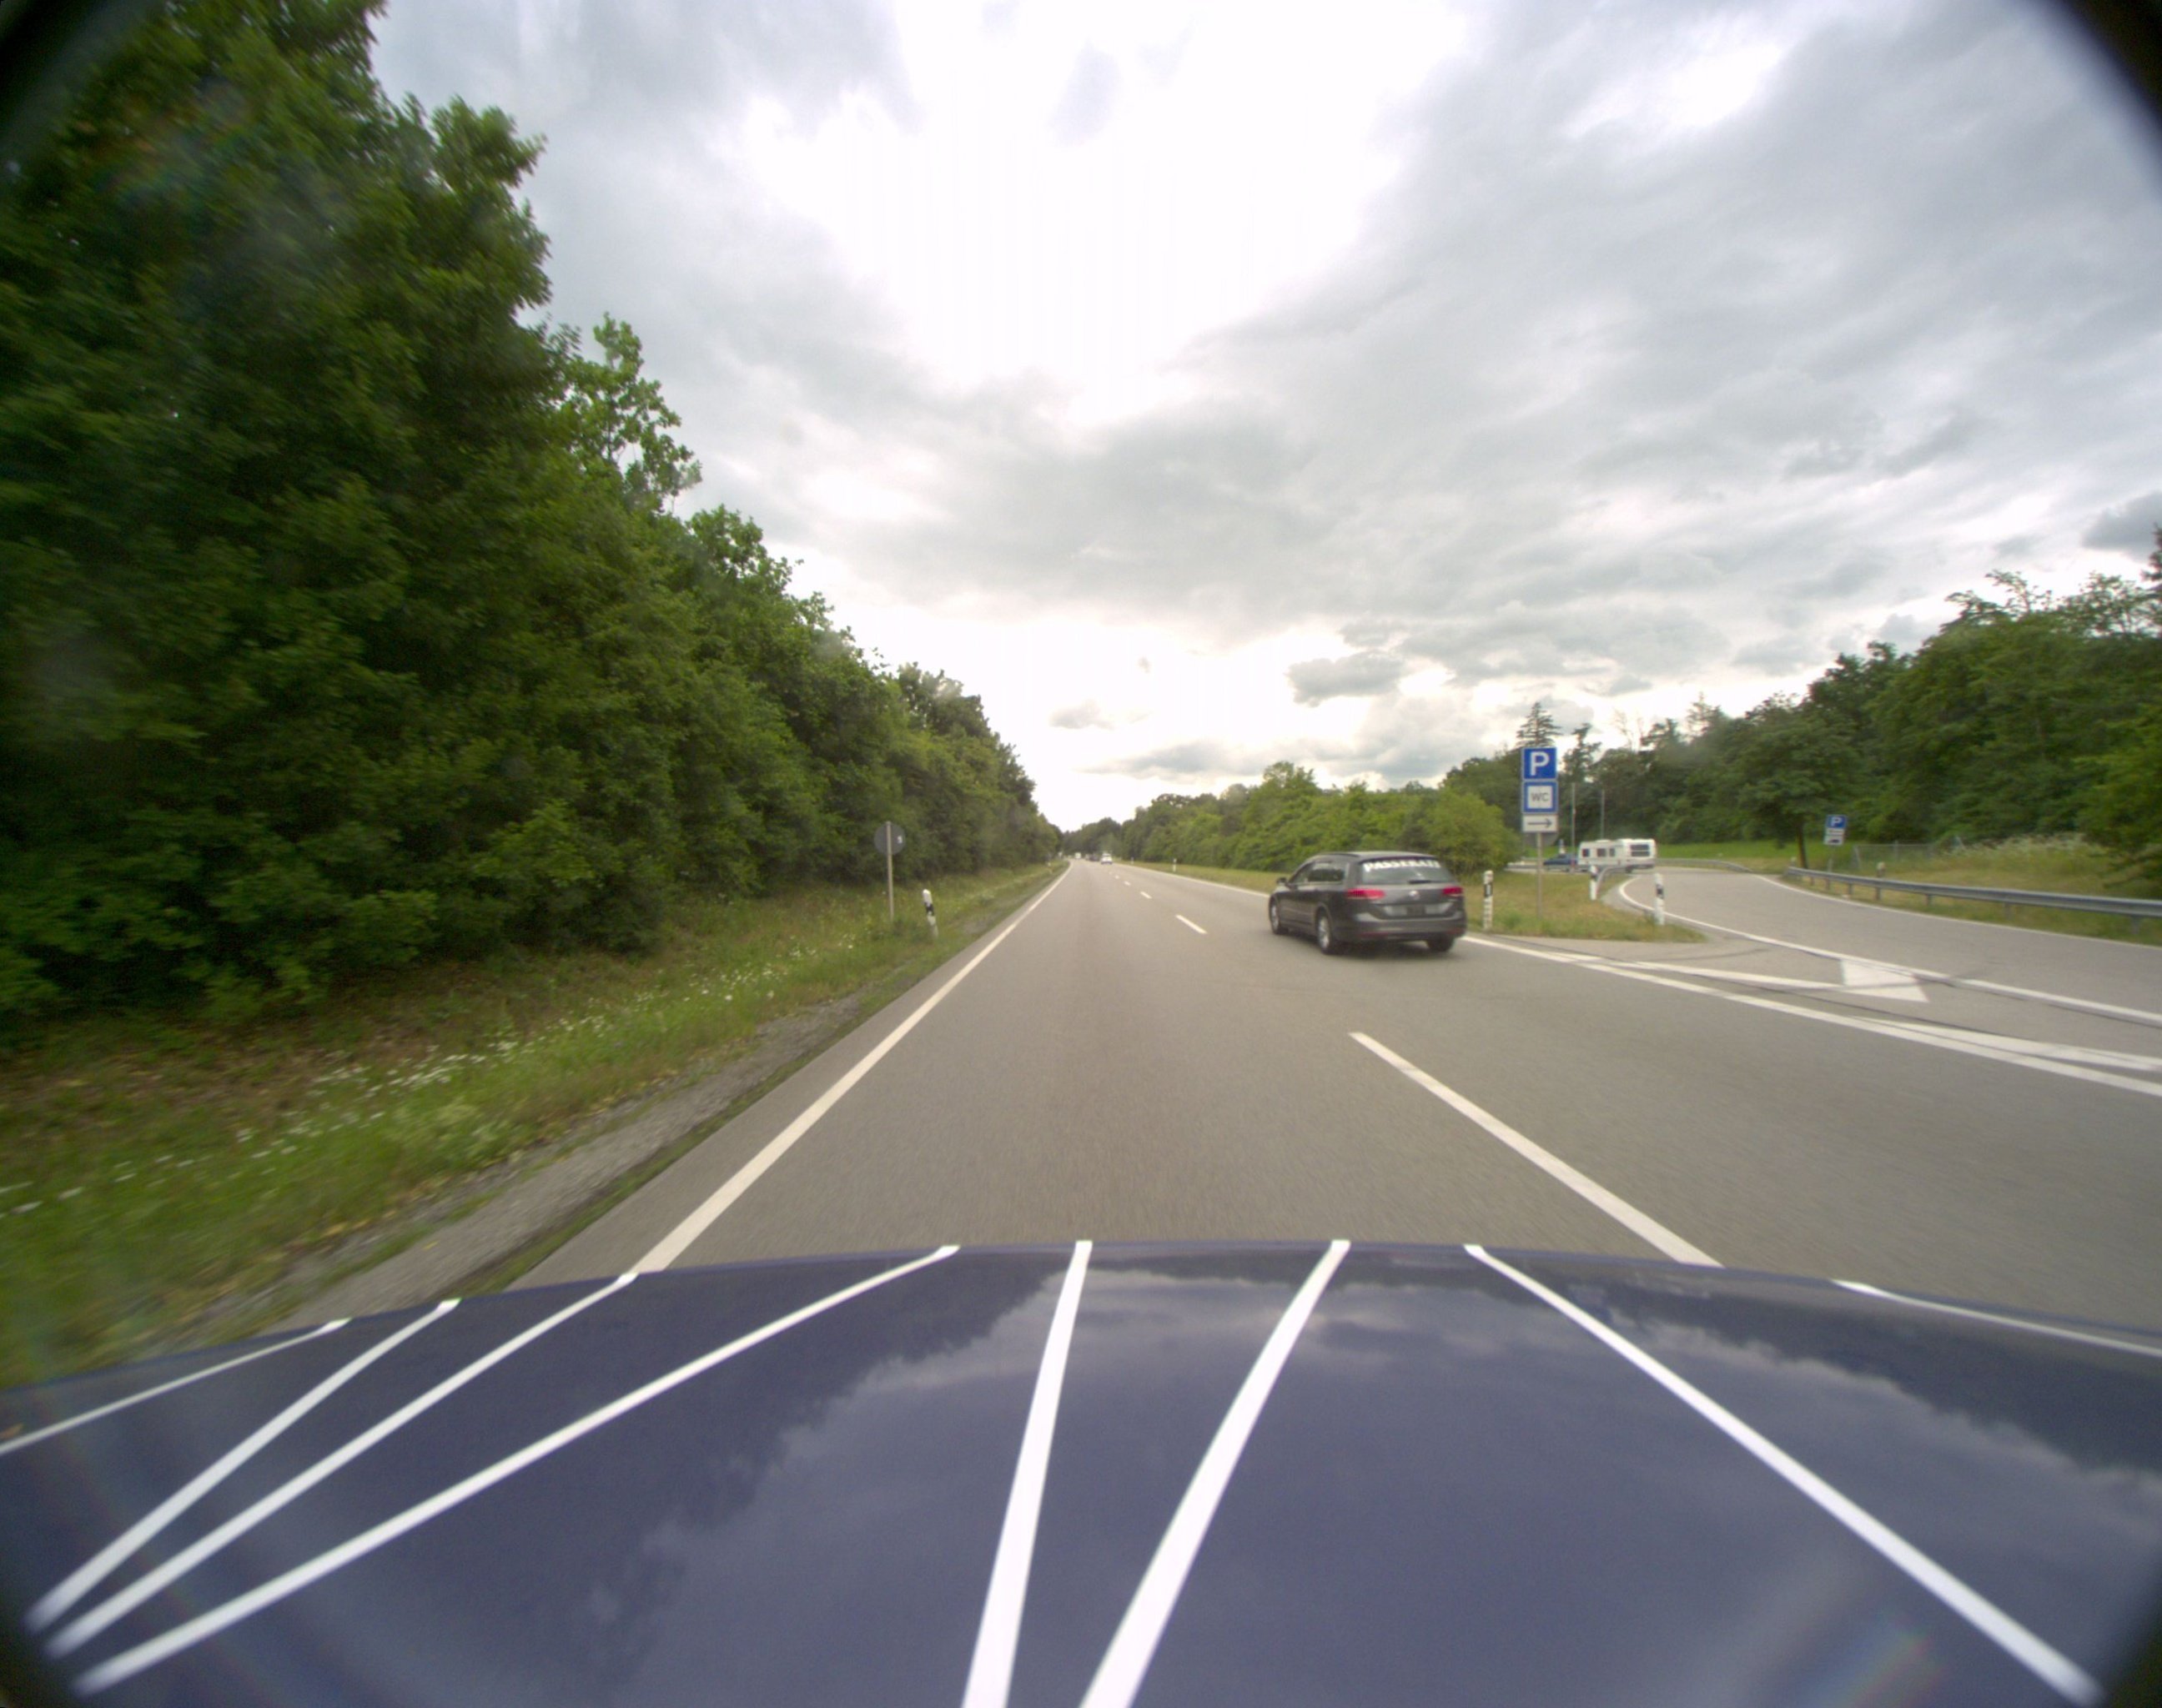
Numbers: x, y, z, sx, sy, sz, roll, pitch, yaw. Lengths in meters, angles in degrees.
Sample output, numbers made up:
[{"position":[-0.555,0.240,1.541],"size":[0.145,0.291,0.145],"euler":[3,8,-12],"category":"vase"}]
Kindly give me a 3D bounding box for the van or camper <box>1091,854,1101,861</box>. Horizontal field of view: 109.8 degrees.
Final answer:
[{"position":[3.613,0.864,185.042],"size":[1.999,1.772,4.420],"euler":[-2,0,-4],"category":"van or camper"}]

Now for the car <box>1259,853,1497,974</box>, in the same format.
[{"position":[4.237,0.739,11.713],"size":[1.813,1.433,4.447],"euler":[-2,0,-1],"category":"car"}]

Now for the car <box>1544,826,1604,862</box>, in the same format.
[{"position":[42.307,-0.854,65.330],"size":[2.403,2.944,4.602],"euler":[-2,0,5],"category":"car"}]

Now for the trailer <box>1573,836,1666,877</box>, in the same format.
[{"position":[41.851,0.145,59.364],"size":[2.485,2.947,7.396],"euler":[-2,0,5],"category":"trailer"}]

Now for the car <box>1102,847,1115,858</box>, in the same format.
[{"position":[4.766,-0.225,132.764],"size":[1.918,1.770,4.612],"euler":[-2,0,-1],"category":"car"}]
